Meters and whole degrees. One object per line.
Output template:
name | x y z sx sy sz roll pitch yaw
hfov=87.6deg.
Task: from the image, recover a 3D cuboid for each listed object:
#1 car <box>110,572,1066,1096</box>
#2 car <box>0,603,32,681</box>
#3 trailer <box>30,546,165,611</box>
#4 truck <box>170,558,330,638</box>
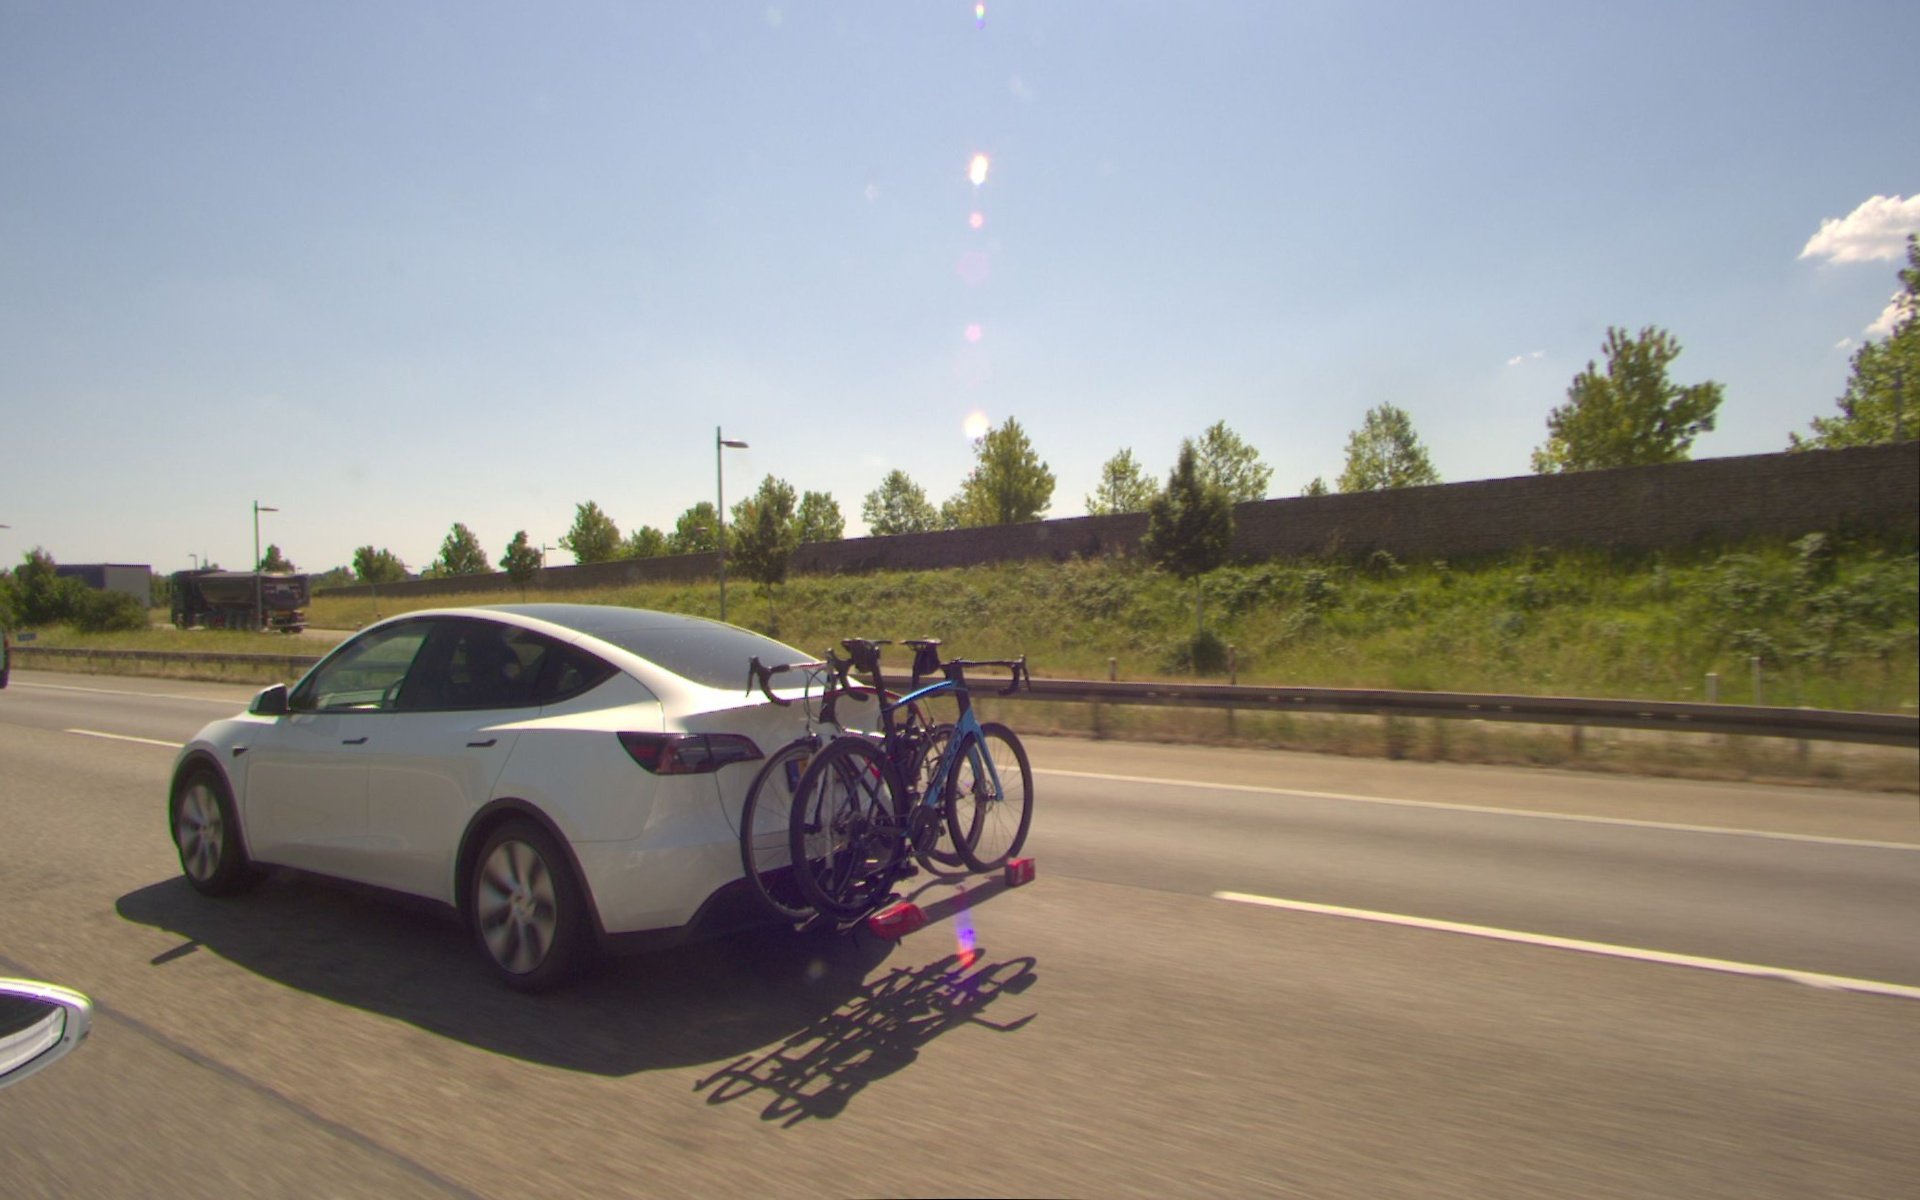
car | -2.331 0.782 5.466 5.520 1.658 1.947 -1 -1 32
car | -25.013 1.043 24.743 4.117 1.862 1.947 -1 0 31
trailer | -60.834 -1.334 70.417 14.050 4.135 3.048 -1 -2 32
truck | -40.742 0.051 57.187 12.356 4.135 3.777 -1 -2 37
